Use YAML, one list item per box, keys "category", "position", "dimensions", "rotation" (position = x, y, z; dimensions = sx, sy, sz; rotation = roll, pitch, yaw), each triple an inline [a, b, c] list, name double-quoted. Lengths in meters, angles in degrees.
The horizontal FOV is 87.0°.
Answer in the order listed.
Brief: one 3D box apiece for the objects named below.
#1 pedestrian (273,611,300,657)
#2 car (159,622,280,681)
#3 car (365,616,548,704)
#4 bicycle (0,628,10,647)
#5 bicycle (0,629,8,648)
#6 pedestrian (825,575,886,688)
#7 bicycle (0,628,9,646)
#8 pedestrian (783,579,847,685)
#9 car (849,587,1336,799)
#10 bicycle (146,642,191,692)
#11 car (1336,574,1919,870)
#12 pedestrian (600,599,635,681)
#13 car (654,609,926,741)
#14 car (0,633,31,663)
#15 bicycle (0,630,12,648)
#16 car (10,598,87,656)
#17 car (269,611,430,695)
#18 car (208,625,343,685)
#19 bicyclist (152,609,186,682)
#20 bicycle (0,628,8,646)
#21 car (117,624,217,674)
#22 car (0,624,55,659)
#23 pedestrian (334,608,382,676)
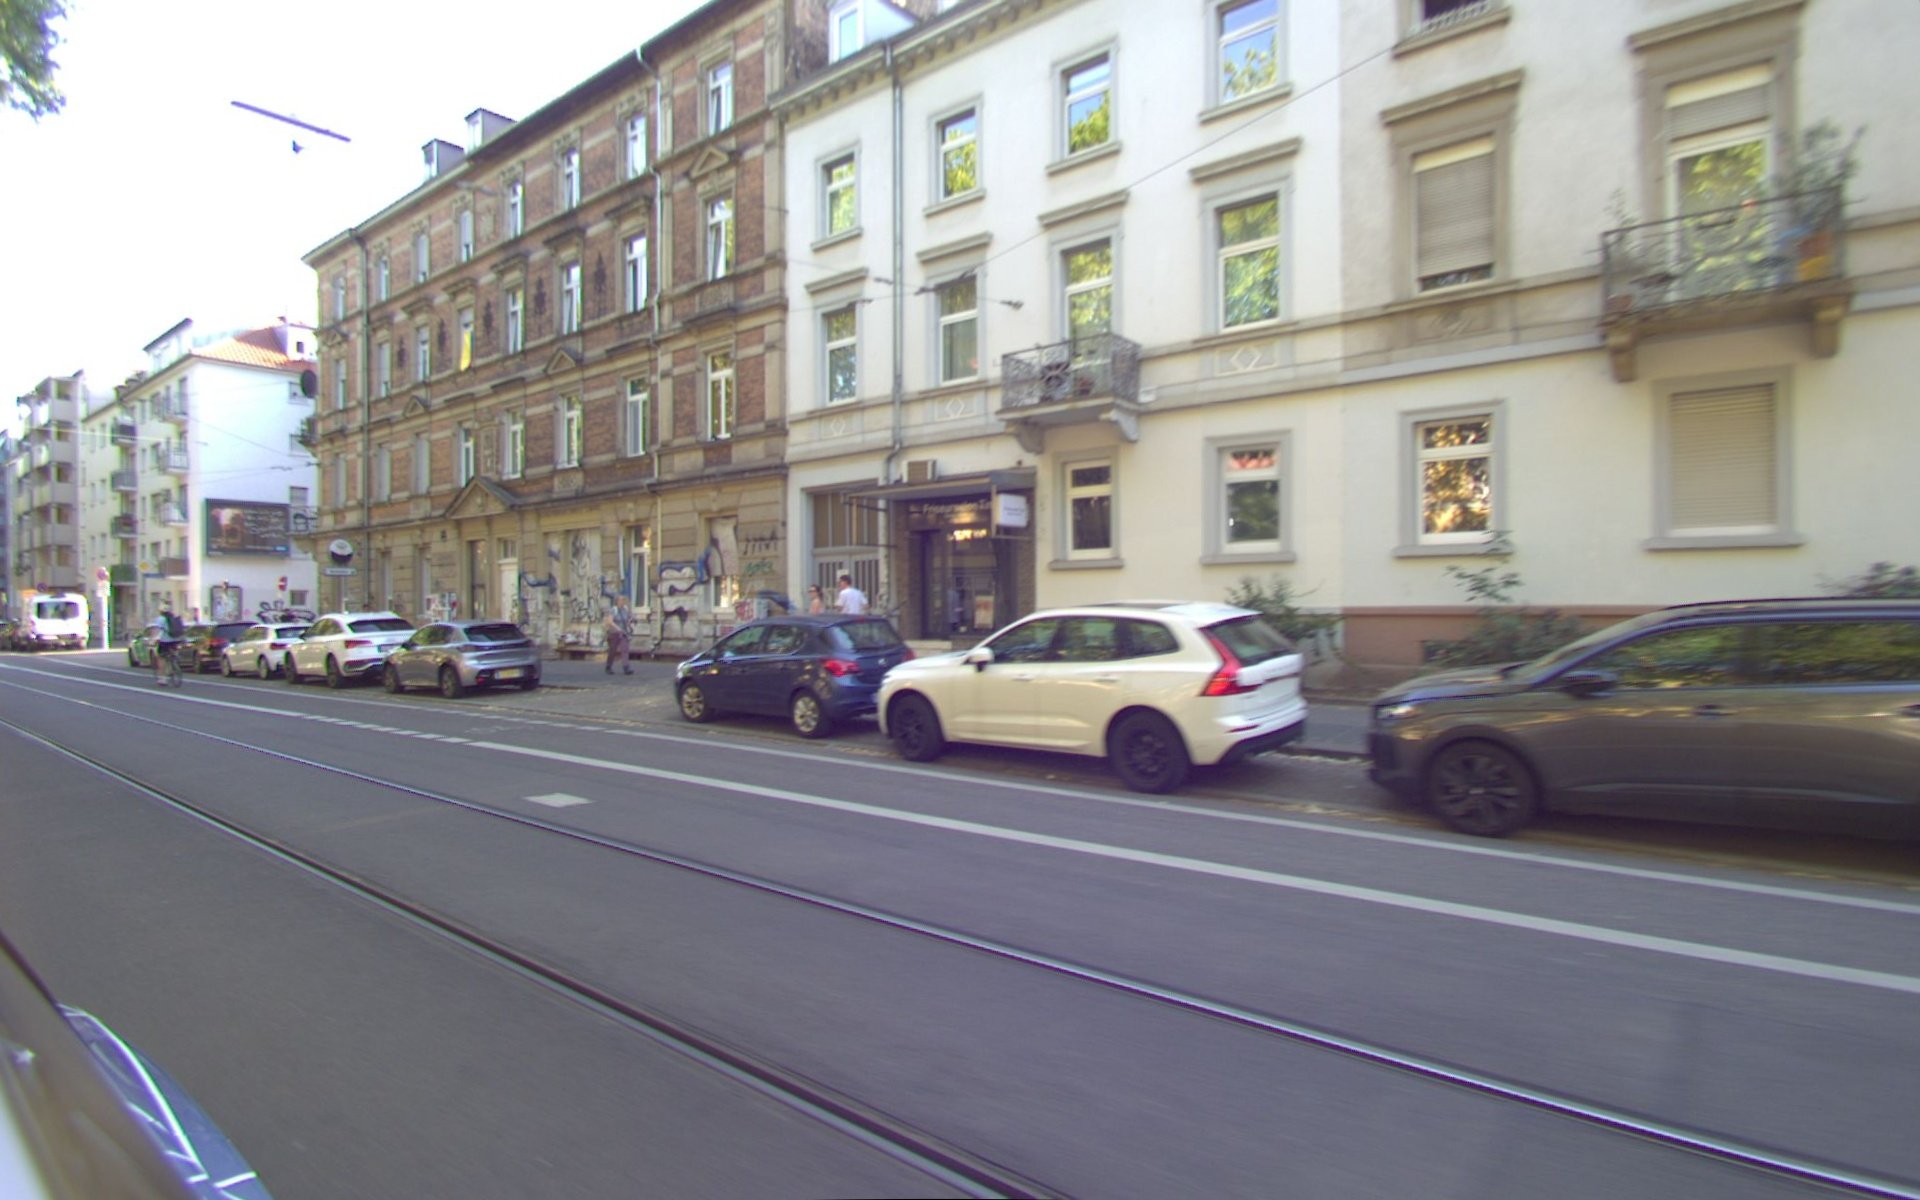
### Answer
- category: "pedestrian"
  position: [-26.570, 1.358, 39.915]
  dimensions: [0.893, 1.762, 0.649]
  rotation: [-3, -1, 43]
- category: "car"
  position: [-22.321, 1.493, 30.431]
  dimensions: [4.780, 1.574, 1.724]
  rotation: [-1, 0, 39]
- category: "car"
  position: [-10.109, 1.119, 20.201]
  dimensions: [4.058, 1.532, 1.647]
  rotation: [-1, 0, 38]
- category: "bicycle"
  position: [-58.729, 2.280, 61.123]
  dimensions: [1.945, 1.127, 0.425]
  rotation: [-2, 0, -44]
- category: "bicycle"
  position: [-57.908, 2.328, 60.267]
  dimensions: [1.768, 1.127, 0.425]
  rotation: [-2, 0, -44]
- category: "pedestrian"
  position: [-1.940, 0.575, 18.743]
  dimensions: [0.829, 2.029, 0.752]
  rotation: [-1, -1, 38]
- category: "bicycle"
  position: [-59.083, 2.285, 61.460]
  dimensions: [1.938, 1.127, 0.440]
  rotation: [-2, 0, -44]
- category: "pedestrian"
  position: [-2.600, 0.560, 18.137]
  dimensions: [0.828, 1.835, 0.752]
  rotation: [-1, -1, 37]
- category: "car"
  position: [1.158, 0.801, 10.447]
  dimensions: [4.760, 1.716, 1.837]
  rotation: [-1, -1, 41]
- category: "bicycle"
  position: [-18.236, 1.527, 23.308]
  dimensions: [1.845, 1.094, 0.476]
  rotation: [-1, -1, 41]
- category: "car"
  position: [5.313, 0.729, 7.182]
  dimensions: [4.648, 1.716, 1.841]
  rotation: [-1, -1, 35]
- category: "pedestrian"
  position: [-7.256, 0.826, 21.425]
  dimensions: [0.653, 1.678, 0.771]
  rotation: [-1, 0, -19]
- category: "car"
  position: [-2.396, 0.913, 13.661]
  dimensions: [3.923, 1.527, 1.537]
  rotation: [-1, -1, 42]
- category: "car"
  position: [-50.818, 2.542, 53.737]
  dimensions: [4.570, 1.467, 1.700]
  rotation: [-1, -1, 41]
- category: "bicycle"
  position: [-56.896, 2.319, 59.352]
  dimensions: [1.871, 1.045, 0.402]
  rotation: [-2, 1, -44]
- category: "car"
  position: [-42.236, 1.225, 46.849]
  dimensions: [5.664, 2.555, 2.043]
  rotation: [-1, -1, 41]
- category: "car"
  position: [-14.321, 1.155, 23.647]
  dimensions: [4.714, 1.736, 1.769]
  rotation: [-1, 0, 40]
- category: "car"
  position: [-18.254, 1.413, 26.949]
  dimensions: [3.992, 1.431, 1.684]
  rotation: [-1, 0, 36]
- category: "bicyclist"
  position: [-18.161, 1.036, 23.233]
  dimensions: [0.799, 1.648, 0.468]
  rotation: [-1, -1, 41]
- category: "bicycle"
  position: [-59.459, 2.291, 61.797]
  dimensions: [1.908, 1.127, 0.440]
  rotation: [-2, 0, -44]
- category: "car"
  position: [-26.402, 1.581, 33.657]
  dimensions: [4.040, 1.503, 1.724]
  rotation: [-1, 0, 39]
- category: "car"
  position: [-46.386, 2.013, 50.046]
  dimensions: [4.341, 1.644, 1.702]
  rotation: [-1, -1, 38]
- category: "pedestrian"
  position: [-16.475, 1.144, 27.678]
  dimensions: [1.053, 1.814, 0.679]
  rotation: [-1, 0, 31]
